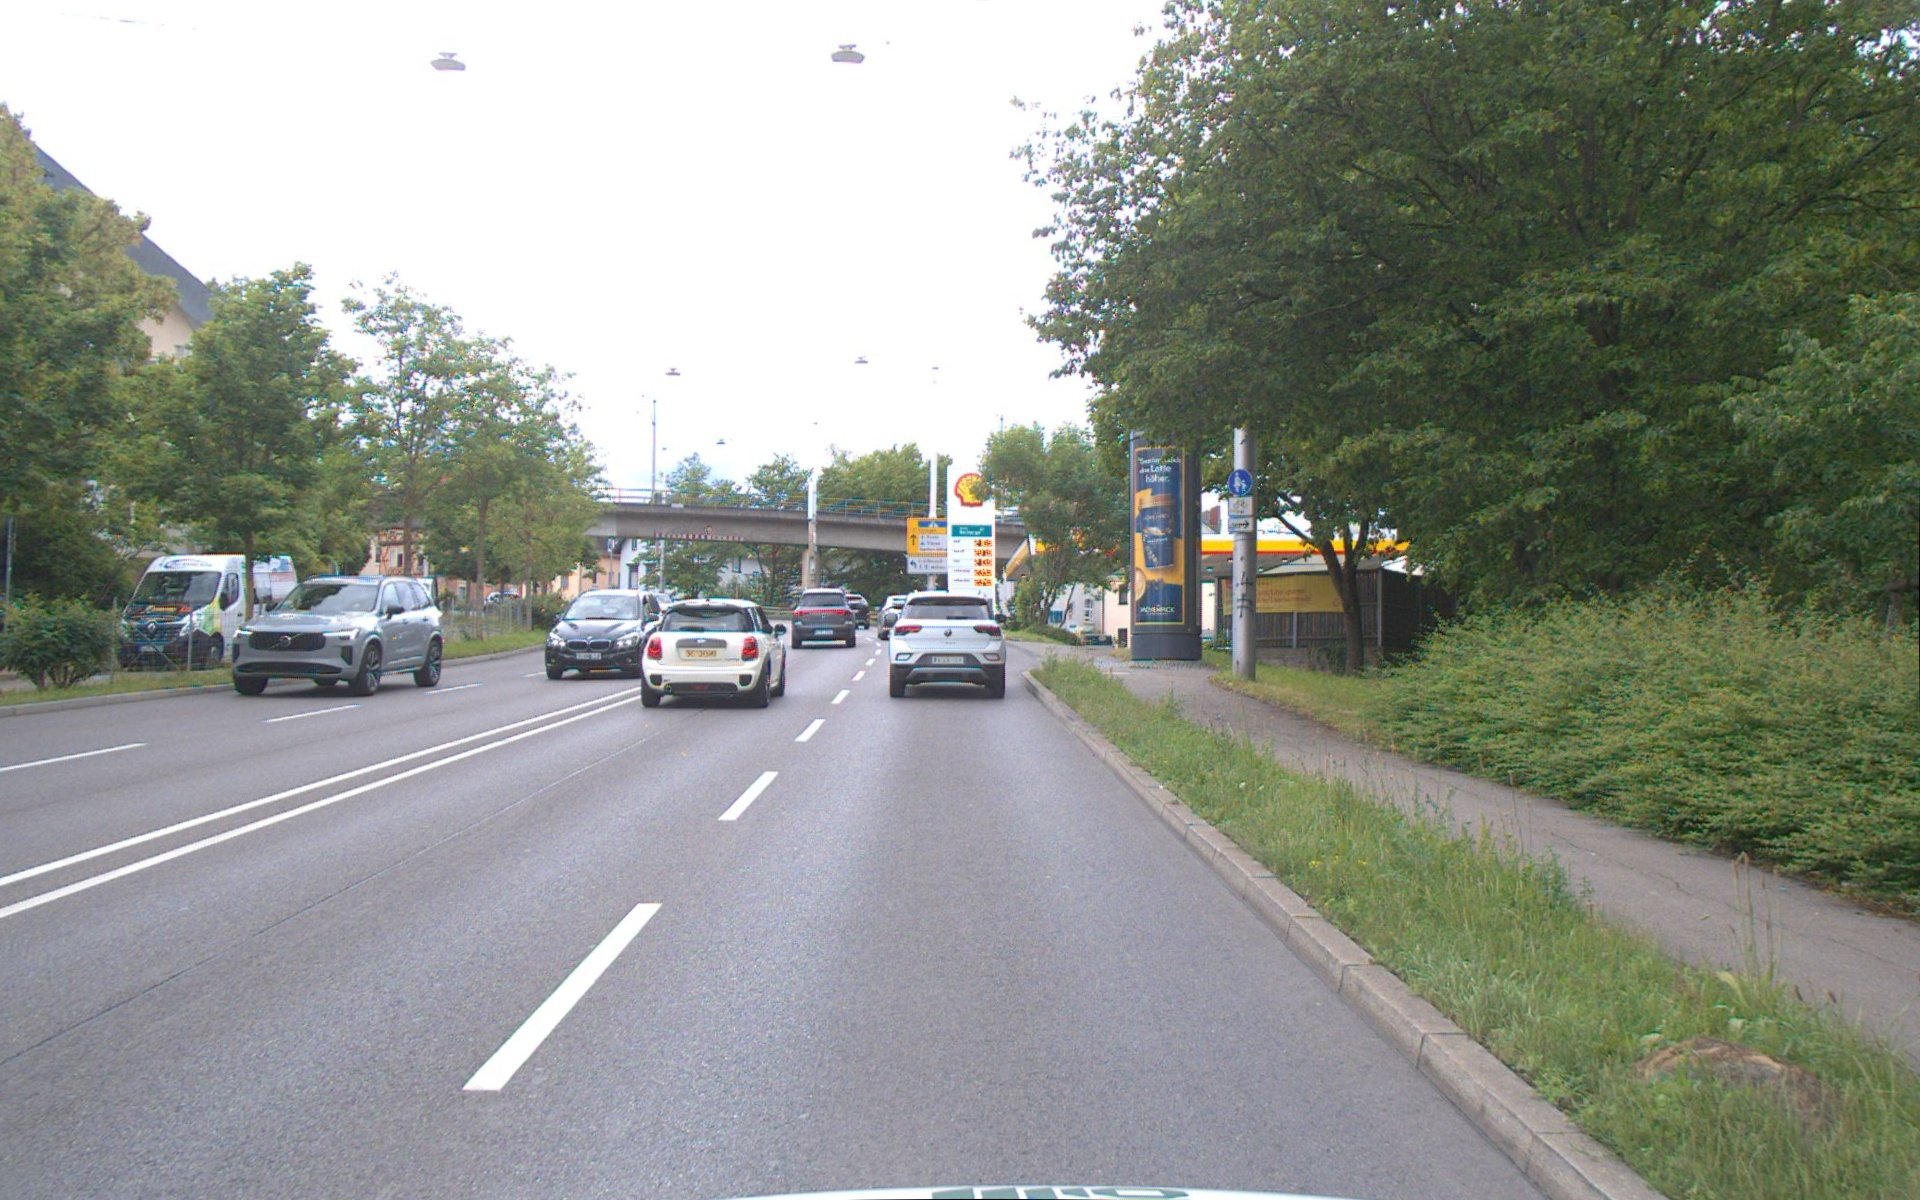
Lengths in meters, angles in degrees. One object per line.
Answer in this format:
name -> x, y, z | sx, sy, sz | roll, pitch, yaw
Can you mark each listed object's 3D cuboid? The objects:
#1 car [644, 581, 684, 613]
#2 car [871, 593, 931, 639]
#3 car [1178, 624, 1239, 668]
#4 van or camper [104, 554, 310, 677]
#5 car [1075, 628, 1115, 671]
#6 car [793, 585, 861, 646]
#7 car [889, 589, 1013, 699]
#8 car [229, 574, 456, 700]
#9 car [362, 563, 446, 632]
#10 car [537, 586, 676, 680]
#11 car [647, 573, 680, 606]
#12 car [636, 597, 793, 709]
car -> -14.872, -0.163, 83.224 | 1.751, 1.565, 4.070 | 0, 1, -7
car -> -1.960, 0.502, 54.130 | 1.644, 1.433, 3.451 | 1, 0, -8
car -> 9.119, 1.707, 60.997 | 1.699, 1.512, 3.877 | -1, -3, 1
van or camper -> -16.684, 0.296, 37.045 | 1.952, 2.516, 5.710 | -1, 0, 1
car -> 6.928, 2.578, 85.242 | 1.699, 2.046, 4.712 | -1, -3, 1
car -> -3.757, 0.415, 47.248 | 1.687, 1.668, 3.456 | 1, 0, -1
car -> -0.148, 0.621, 25.460 | 1.760, 1.545, 3.456 | 1, 0, -1
car -> -9.366, 0.495, 25.532 | 1.728, 1.738, 4.870 | 1, 1, -1
car -> -19.803, -0.115, 59.154 | 2.229, 2.312, 6.305 | -1, 0, -13
car -> -6.592, 0.565, 31.249 | 1.728, 1.620, 4.365 | 1, 1, -1
car -> -17.751, -0.633, 98.812 | 1.864, 1.971, 3.989 | 0, 0, -11
car -> -3.340, 0.683, 23.059 | 1.687, 1.400, 3.456 | 1, 0, -1
